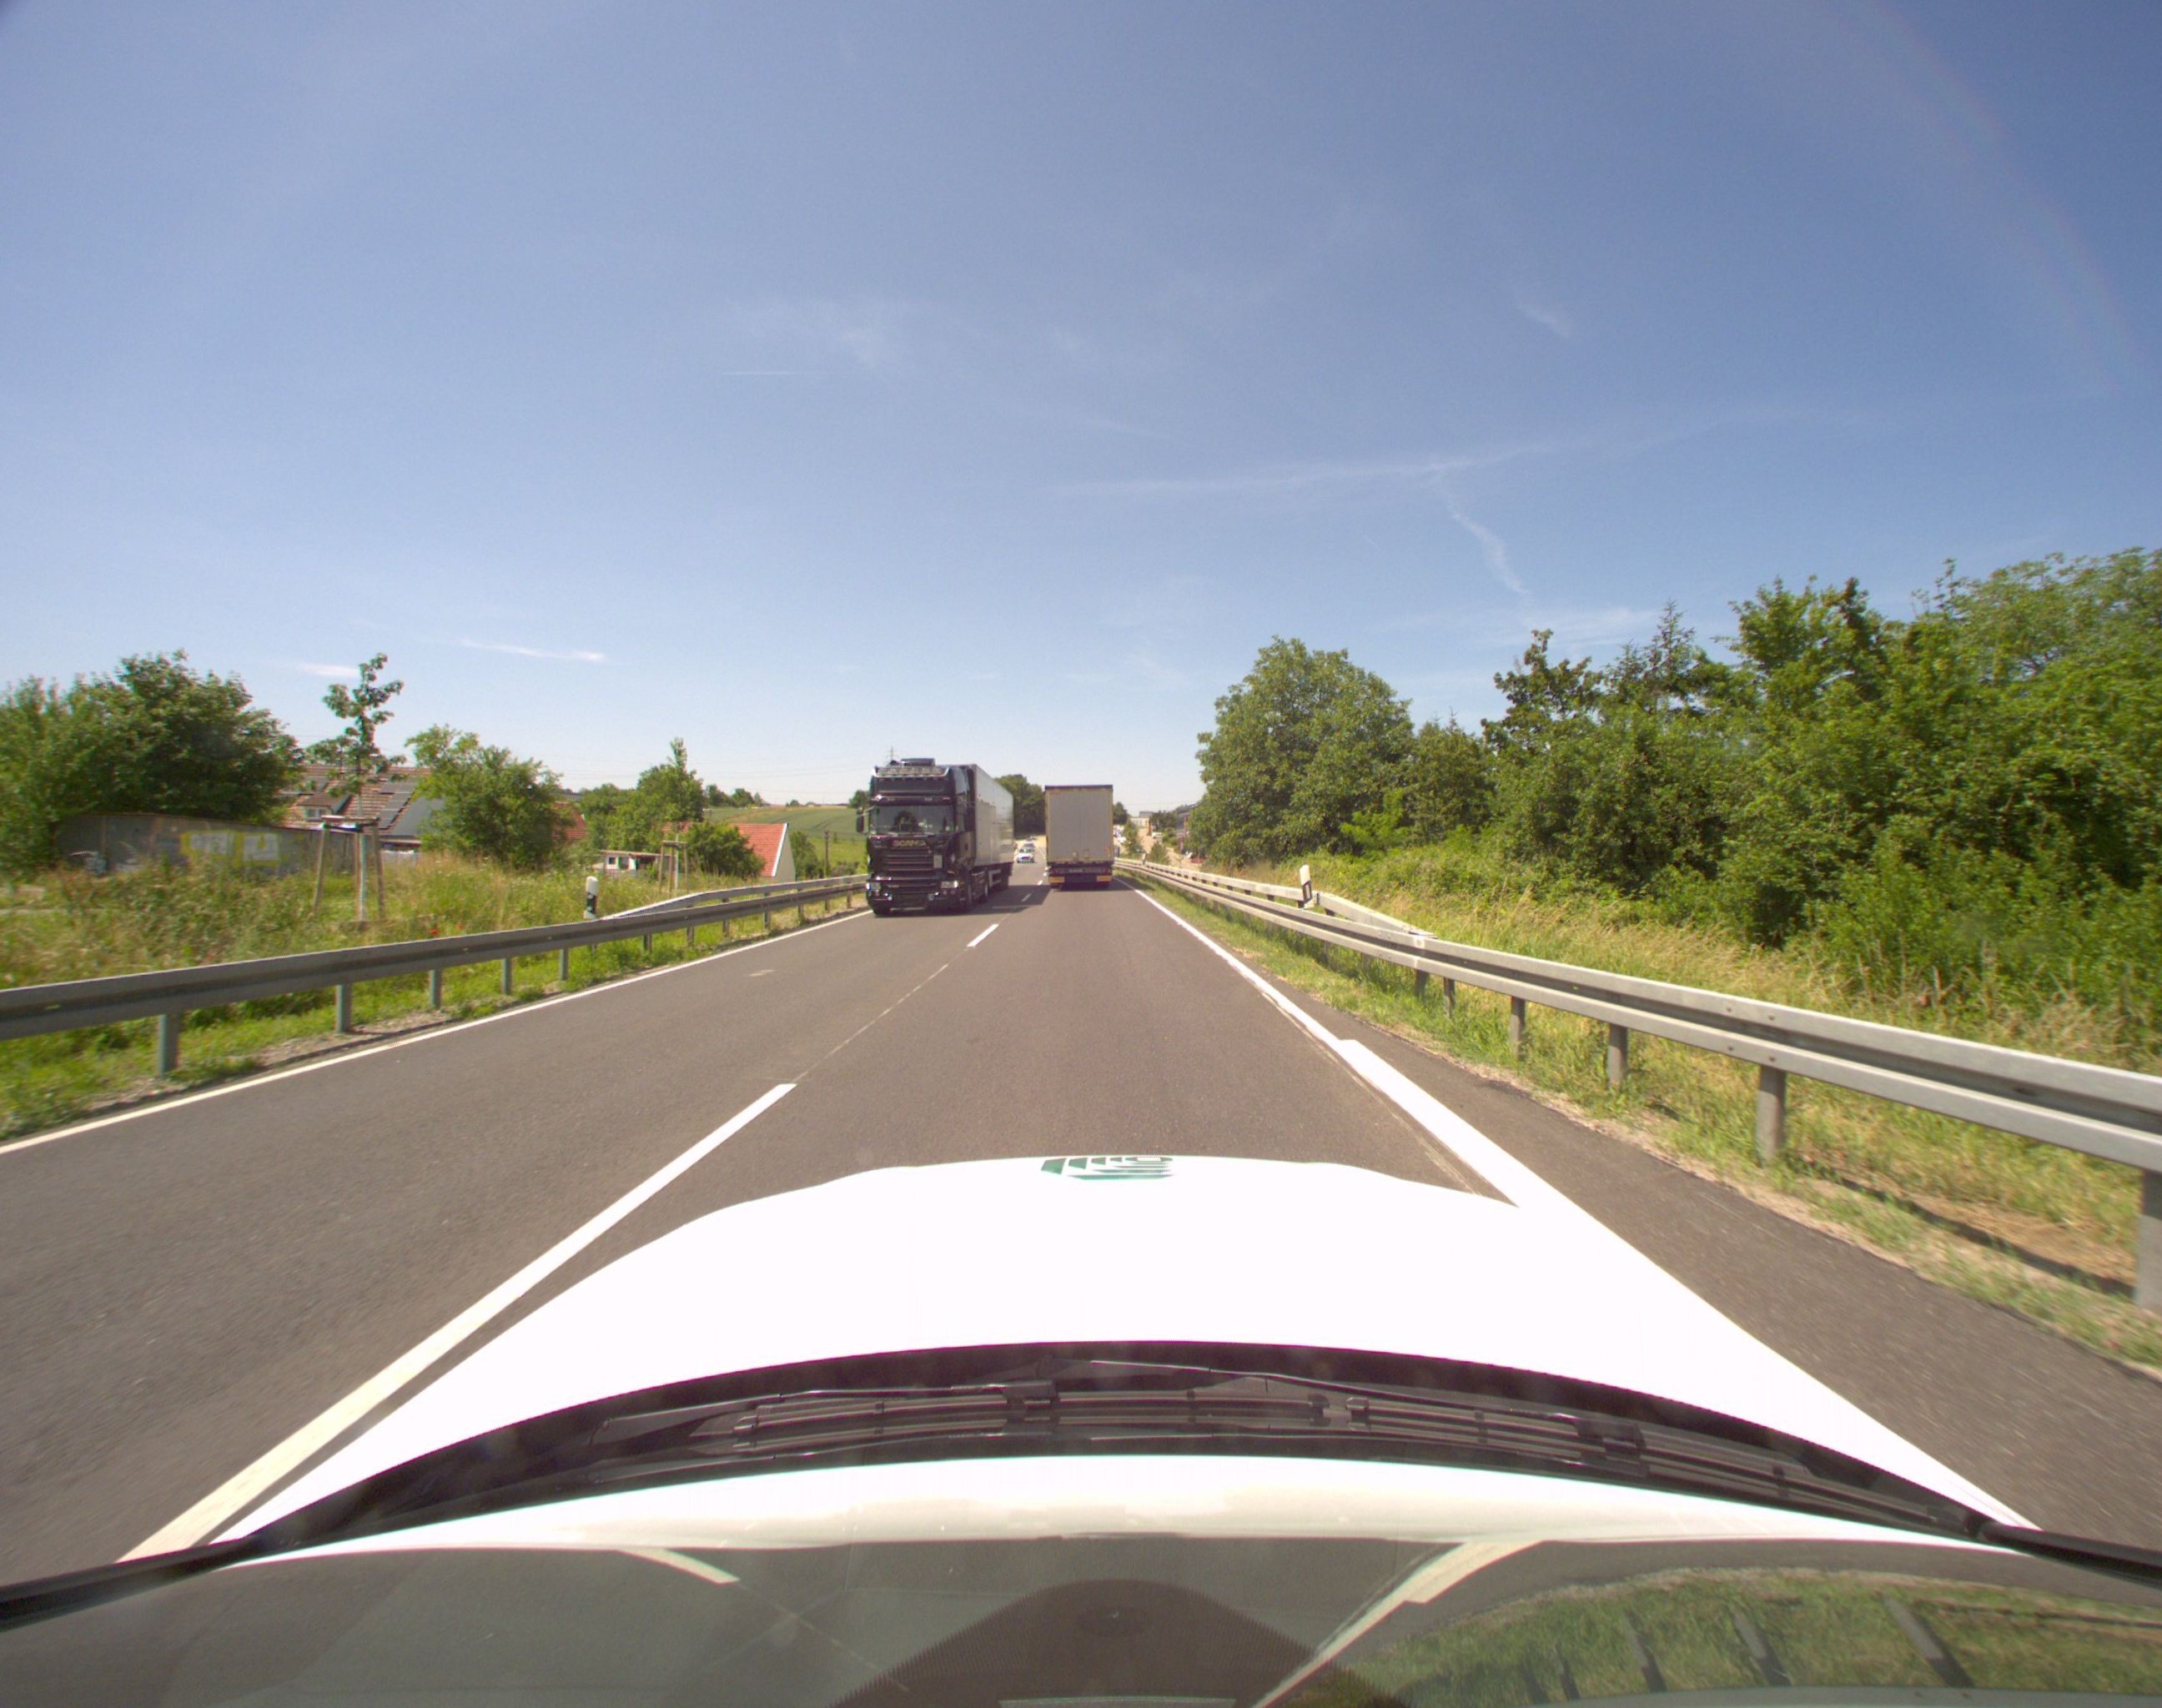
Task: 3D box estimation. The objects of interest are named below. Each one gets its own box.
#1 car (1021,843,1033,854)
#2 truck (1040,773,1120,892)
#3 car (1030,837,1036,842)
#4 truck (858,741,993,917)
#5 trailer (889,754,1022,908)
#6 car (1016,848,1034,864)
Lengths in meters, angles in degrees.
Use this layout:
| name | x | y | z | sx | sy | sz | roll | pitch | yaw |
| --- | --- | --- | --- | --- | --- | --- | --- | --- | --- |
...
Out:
| name | x | y | z | sx | sy | sz | roll | pitch | yaw |
| --- | --- | --- | --- | --- | --- | --- | --- | --- | --- |
| car | -8.523 | -0.882 | 128.386 | 1.802 | 1.589 | 4.375 | -1 | 0 | -3 |
| truck | -0.090 | -0.802 | 35.233 | 2.857 | 4.359 | 9.786 | -2 | 0 | -1 |
| car | -13.826 | -4.093 | 234.949 | 1.778 | 1.435 | 4.828 | -1 | 1 | -4 |
| truck | -4.082 | -0.618 | 22.588 | 2.437 | 4.194 | 5.650 | -2 | 0 | 1 |
| trailer | -3.969 | -0.666 | 29.496 | 2.437 | 4.184 | 14.014 | -2 | 0 | 0 |
| car | -5.554 | 0.172 | 81.347 | 1.642 | 1.440 | 4.155 | -2 | 1 | -3 |
